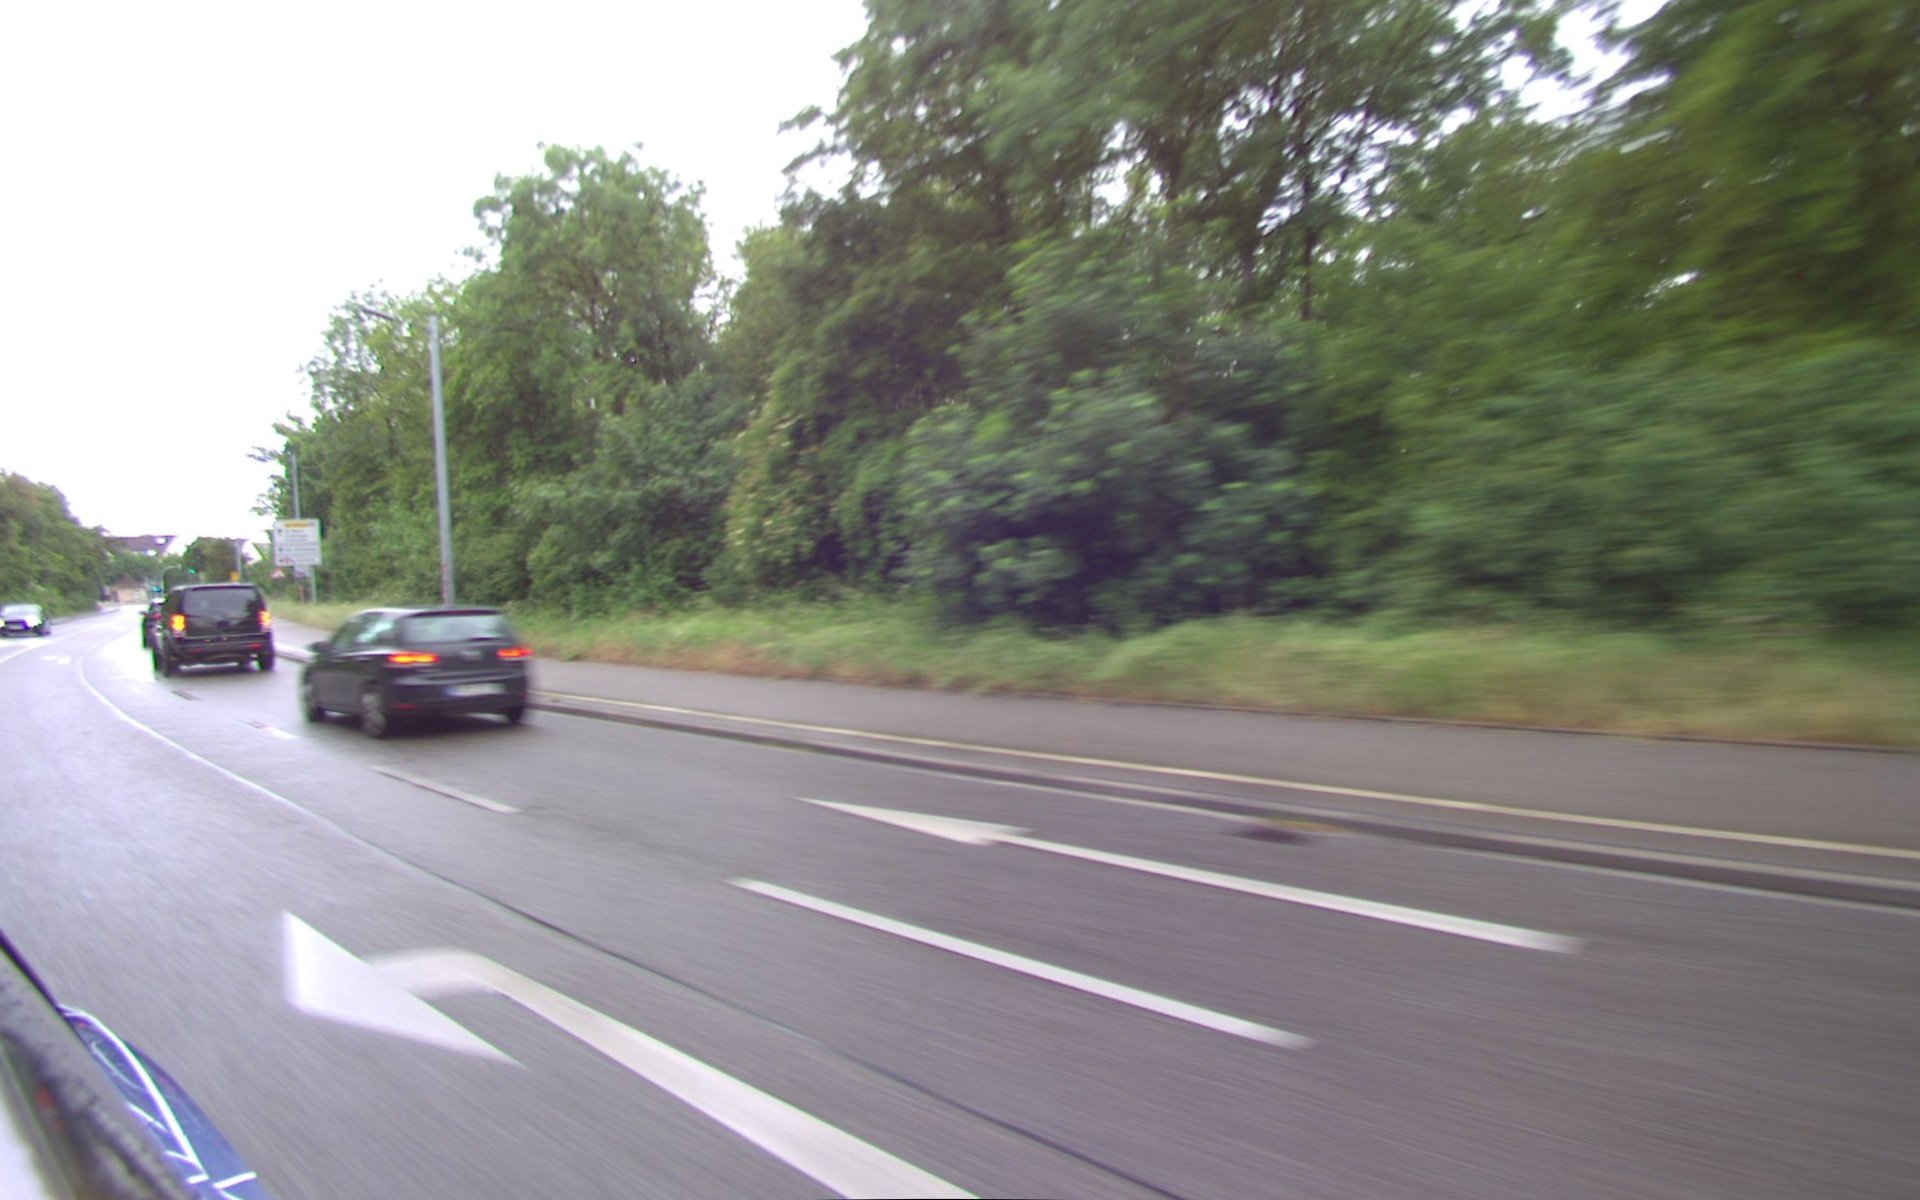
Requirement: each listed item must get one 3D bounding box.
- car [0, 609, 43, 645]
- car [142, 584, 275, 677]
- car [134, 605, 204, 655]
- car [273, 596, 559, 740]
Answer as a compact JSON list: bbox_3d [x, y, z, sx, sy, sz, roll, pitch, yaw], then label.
[{"bbox_3d":[-43.115,1.263,46.027,1.804,1.532,4.007,3,-4,-39],"label":"car"},{"bbox_3d":[-16.824,0.728,22.558,1.805,1.857,4.715,3,-4,-43],"label":"car"},{"bbox_3d":[-28.226,1.008,36.056,1.786,1.607,4.525,-2,1,-40],"label":"car"},{"bbox_3d":[-6.834,0.820,12.548,3.998,1.451,1.808,-5,-1,41],"label":"car"}]
